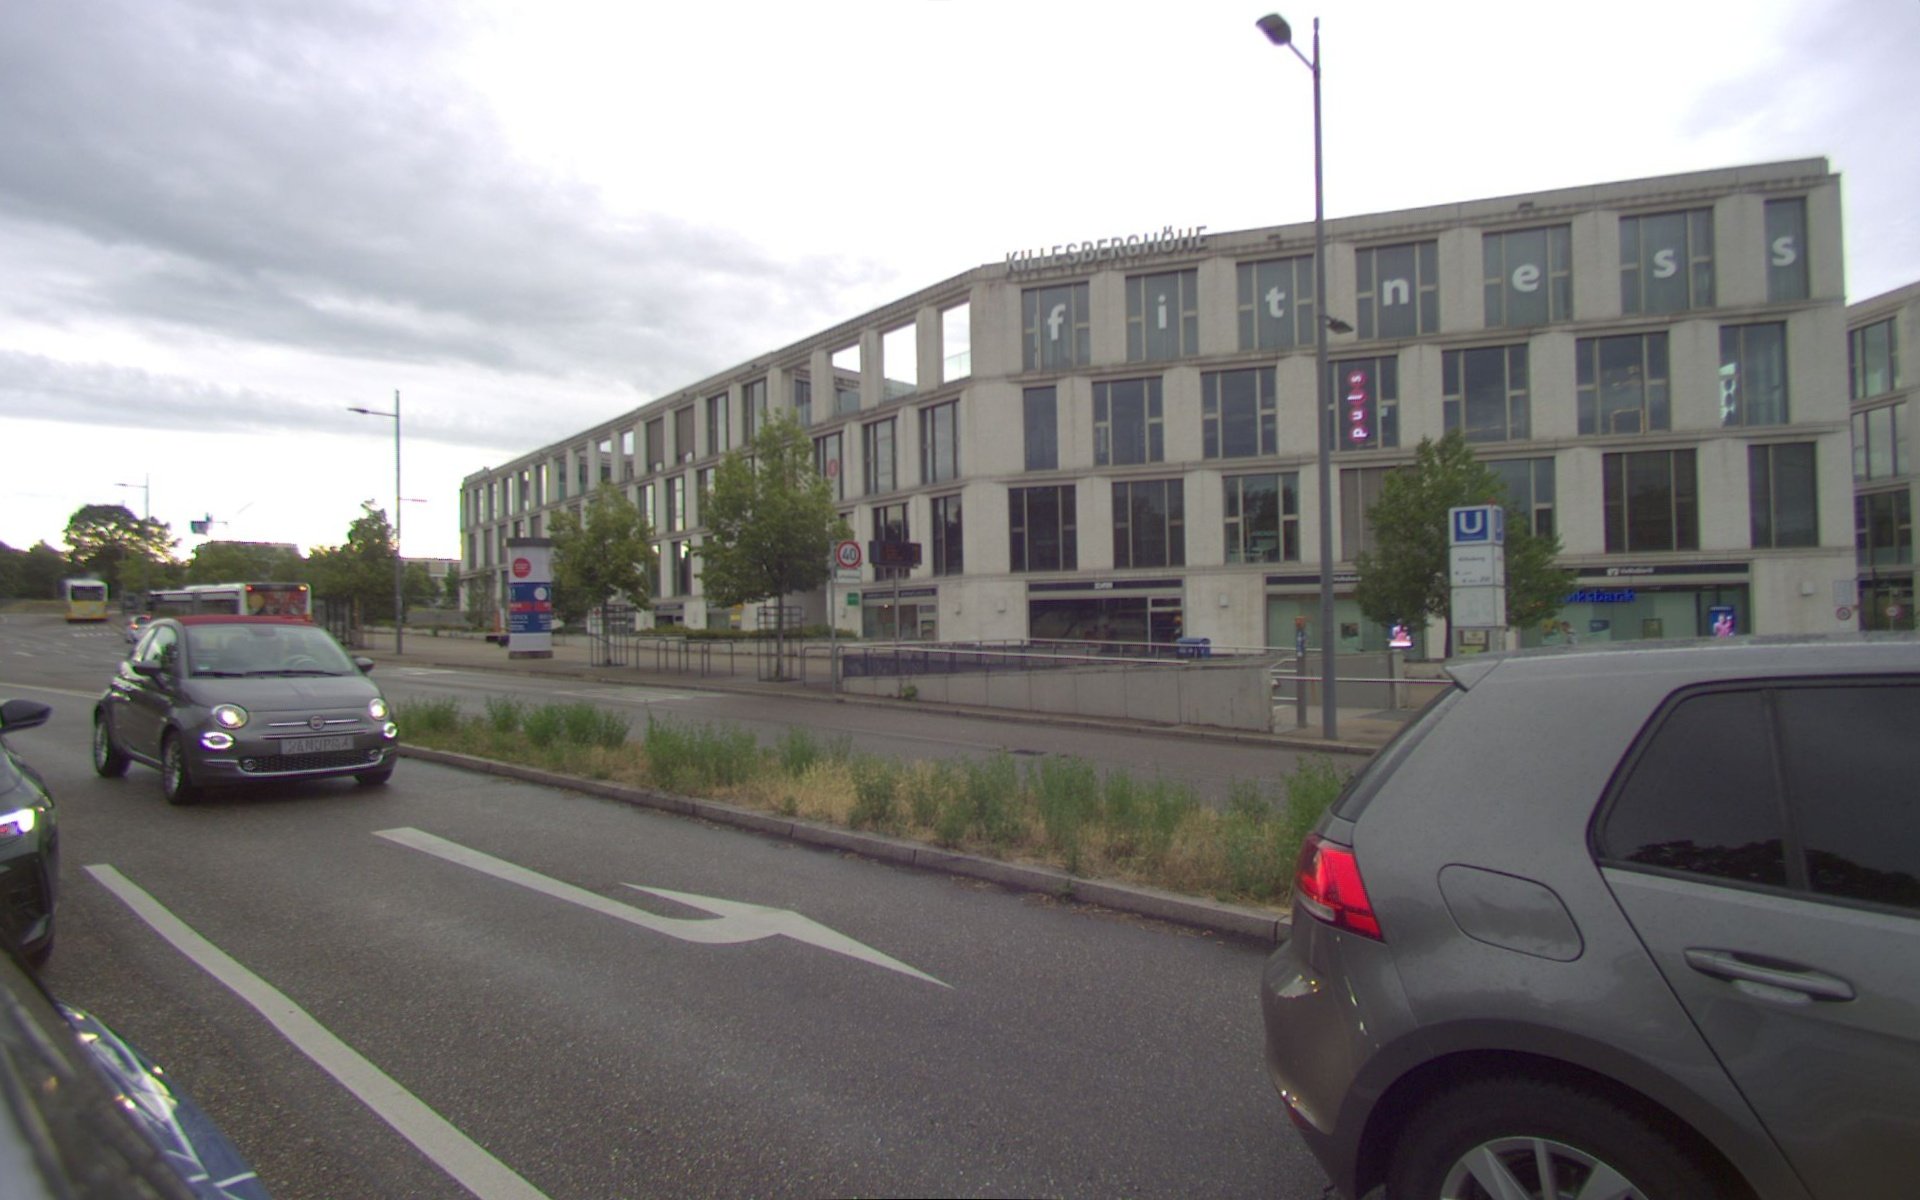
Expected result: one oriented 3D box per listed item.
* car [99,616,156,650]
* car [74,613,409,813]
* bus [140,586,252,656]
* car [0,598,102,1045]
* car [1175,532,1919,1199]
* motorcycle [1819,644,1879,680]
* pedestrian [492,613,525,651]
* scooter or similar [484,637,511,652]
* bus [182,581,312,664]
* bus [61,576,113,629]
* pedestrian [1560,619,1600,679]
[{"bbox_3d":[-47.360,1.833,57.554,3.998,1.800,1.843,-1,0,41],"label":"car"},{"bbox_3d":[-6.661,0.876,9.279,3.502,1.492,1.611,-1,-2,39],"label":"car"},{"bbox_3d":[-38.156,0.985,50.381,9.911,3.205,2.658,-1,0,42],"label":"bus"},{"bbox_3d":[-5.411,0.761,4.409,4.766,1.476,1.877,-1,0,41],"label":"car"},{"bbox_3d":[2.698,0.648,1.443,4.374,1.492,1.797,-1,-2,41],"label":"car"},{"bbox_3d":[20.445,1.415,23.302,0.517,0.746,1.098,-1,0,9],"label":"motorcycle"},{"bbox_3d":[-19.398,1.364,43.448,0.974,1.593,0.863,-1,0,13],"label":"pedestrian"},{"bbox_3d":[-19.781,1.901,43.276,0.827,0.656,0.636,-1,-1,22],"label":"scooter or similar"},{"bbox_3d":[-31.129,0.916,43.974,9.206,3.236,2.723,-1,0,43],"label":"bus"},{"bbox_3d":[-76.299,0.261,88.685,2.717,4.185,19.383,-1,0,-39],"label":"bus"},{"bbox_3d":[17.102,1.335,27.917,0.912,1.617,0.756,-1,-2,31],"label":"pedestrian"}]
